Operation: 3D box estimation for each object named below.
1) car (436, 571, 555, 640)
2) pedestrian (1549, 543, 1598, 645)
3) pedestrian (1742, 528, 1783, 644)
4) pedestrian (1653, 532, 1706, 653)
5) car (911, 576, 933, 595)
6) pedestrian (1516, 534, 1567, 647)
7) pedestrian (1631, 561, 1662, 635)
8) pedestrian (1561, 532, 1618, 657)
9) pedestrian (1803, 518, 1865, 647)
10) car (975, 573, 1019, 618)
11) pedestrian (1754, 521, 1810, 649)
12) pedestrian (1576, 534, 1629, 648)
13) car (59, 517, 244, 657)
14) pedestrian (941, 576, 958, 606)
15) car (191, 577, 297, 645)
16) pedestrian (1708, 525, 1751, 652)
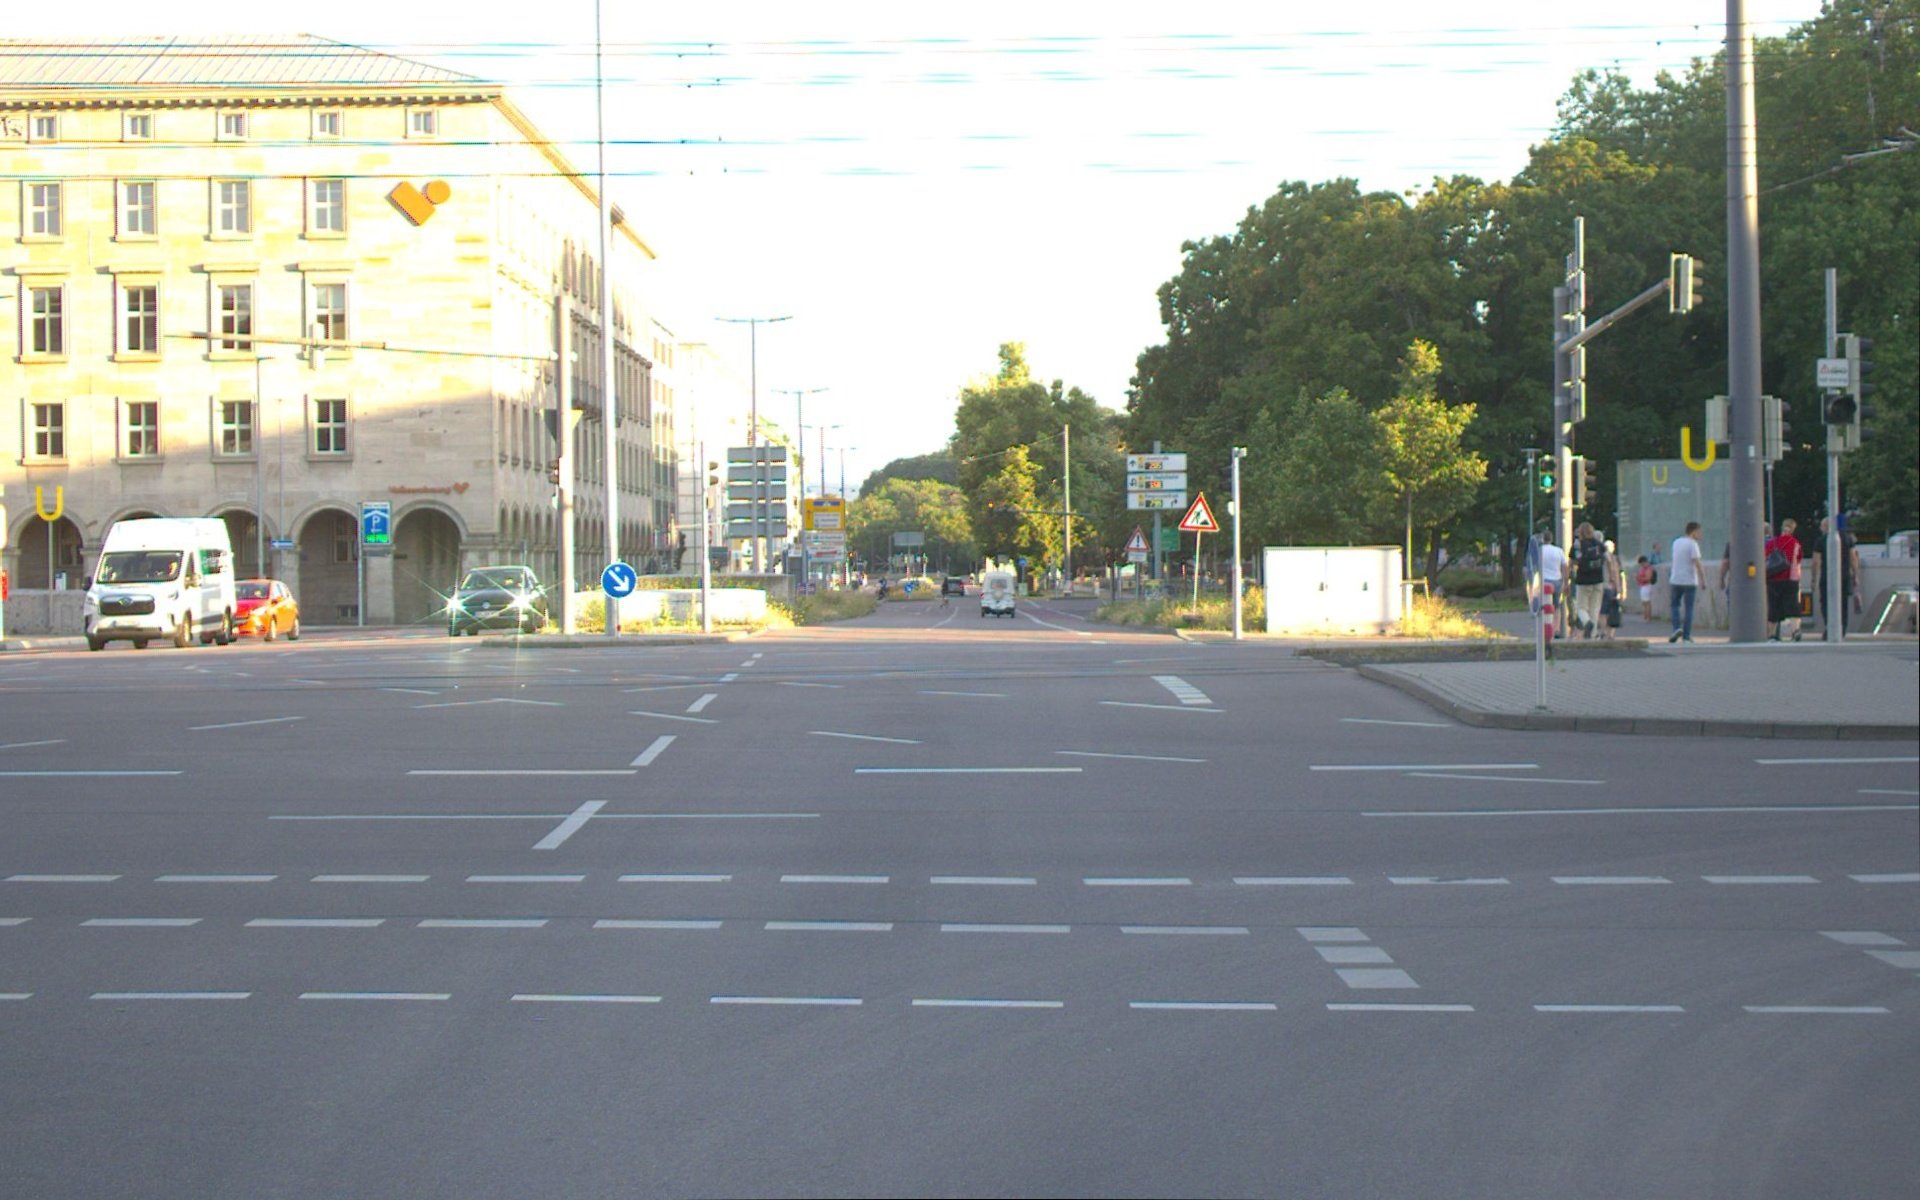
[{"bbox_3d":[-9.644,0.096,71.647,1.823,1.337,4.000,-1,1,1],"label":"car"},{"bbox_3d":[10.638,-0.106,59.598,0.680,1.751,0.901,0,1,20],"label":"pedestrian"},{"bbox_3d":[11.700,-0.205,50.122,0.572,1.673,0.638,0,1,14],"label":"pedestrian"},{"bbox_3d":[10.345,-0.119,49.453,0.711,1.719,0.914,0,1,10],"label":"pedestrian"},{"bbox_3d":[-2.577,-0.988,234.238,1.370,1.230,3.045,-1,1,1],"label":"car"},{"bbox_3d":[8.900,-0.153,52.599,0.711,1.719,0.668,0,1,13],"label":"pedestrian"},{"bbox_3d":[17.212,-0.059,86.236,0.666,1.836,0.713,-1,1,5],"label":"pedestrian"},{"bbox_3d":[8.769,-0.089,47.896,0.711,1.719,0.915,0,1,6],"label":"pedestrian"},{"bbox_3d":[12.257,-0.252,48.249,0.805,1.785,0.800,0,1,12],"label":"pedestrian"},{"bbox_3d":[1.417,-0.189,133.356,1.483,1.690,2.974,-1,1,-3],"label":"car"},{"bbox_3d":[11.249,-0.213,47.037,0.703,1.728,0.847,0,1,16],"label":"pedestrian"},{"bbox_3d":[9.816,-0.141,52.493,0.711,1.719,0.668,0,1,17],"label":"pedestrian"},{"bbox_3d":[-16.803,-0.303,71.762,2.279,2.766,6.083,-1,1,1],"label":"car"},{"bbox_3d":[-0.590,-0.504,193.816,0.906,1.665,1.307,-1,1,-2],"label":"pedestrian"},{"bbox_3d":[-16.673,0.242,80.205,1.738,1.482,4.000,-1,1,-2],"label":"car"},{"bbox_3d":[10.889,-0.168,48.616,0.572,1.785,0.638,0,1,14],"label":"pedestrian"}]
